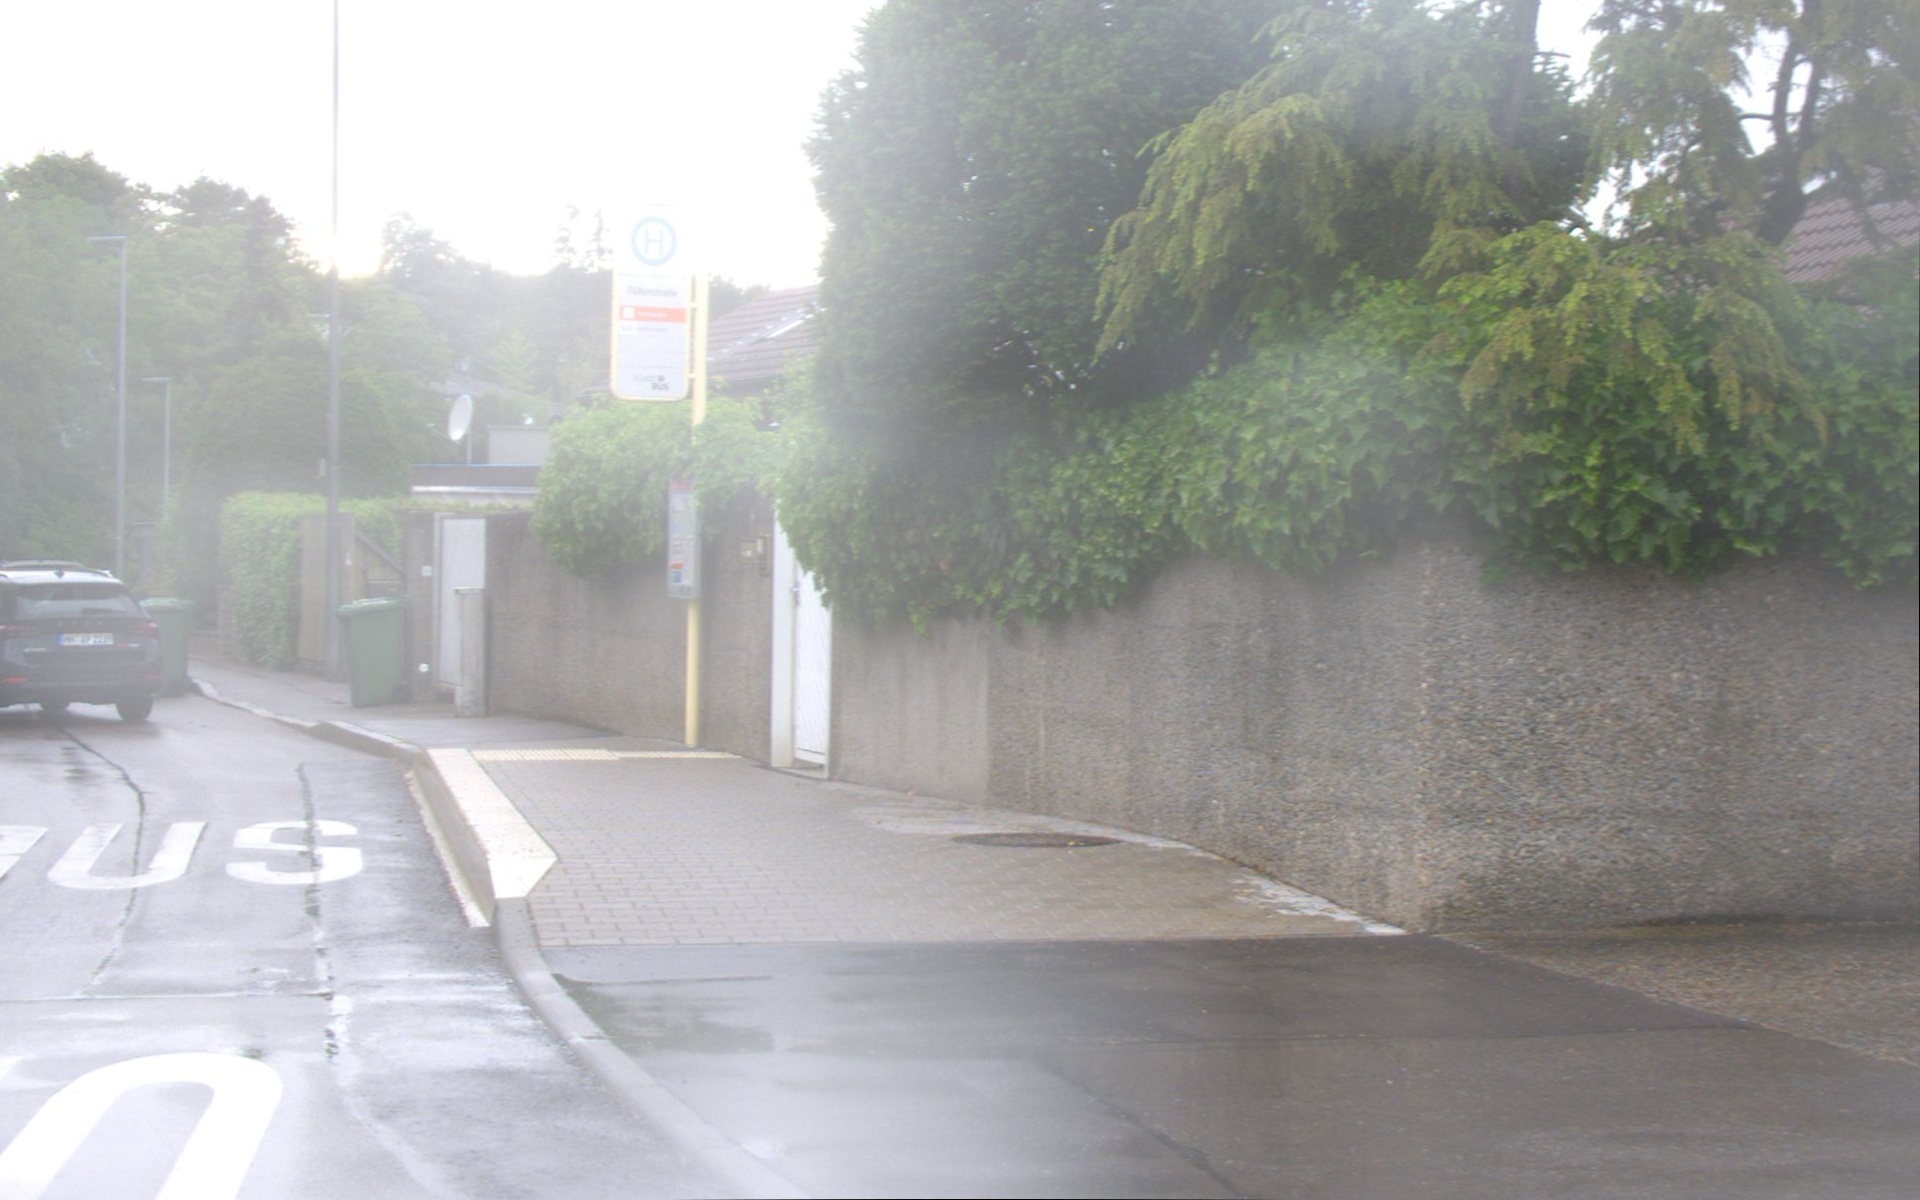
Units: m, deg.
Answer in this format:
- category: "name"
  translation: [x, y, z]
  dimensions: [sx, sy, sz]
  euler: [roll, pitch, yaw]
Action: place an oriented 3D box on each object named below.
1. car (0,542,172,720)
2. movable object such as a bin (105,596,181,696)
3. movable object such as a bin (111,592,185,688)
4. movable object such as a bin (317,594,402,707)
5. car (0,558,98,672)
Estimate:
- category: "car"
  translation: [-8.745, 0.348, 33.250]
  dimensions: [1.868, 1.507, 4.093]
  euler: [2, -4, -17]
- category: "movable object such as a bin"
  translation: [-9.109, 0.507, 38.306]
  dimensions: [0.715, 1.092, 0.656]
  euler: [1, 1, -23]
- category: "movable object such as a bin"
  translation: [-9.318, 0.457, 39.445]
  dimensions: [0.728, 1.075, 0.661]
  euler: [1, 1, -20]
- category: "movable object such as a bin"
  translation: [-6.018, 0.497, 34.447]
  dimensions: [0.738, 1.085, 0.600]
  euler: [-2, 1, -16]
- category: "car"
  translation: [-13.788, 0.181, 50.392]
  dimensions: [1.874, 1.586, 4.481]
  euler: [0, 1, -19]
